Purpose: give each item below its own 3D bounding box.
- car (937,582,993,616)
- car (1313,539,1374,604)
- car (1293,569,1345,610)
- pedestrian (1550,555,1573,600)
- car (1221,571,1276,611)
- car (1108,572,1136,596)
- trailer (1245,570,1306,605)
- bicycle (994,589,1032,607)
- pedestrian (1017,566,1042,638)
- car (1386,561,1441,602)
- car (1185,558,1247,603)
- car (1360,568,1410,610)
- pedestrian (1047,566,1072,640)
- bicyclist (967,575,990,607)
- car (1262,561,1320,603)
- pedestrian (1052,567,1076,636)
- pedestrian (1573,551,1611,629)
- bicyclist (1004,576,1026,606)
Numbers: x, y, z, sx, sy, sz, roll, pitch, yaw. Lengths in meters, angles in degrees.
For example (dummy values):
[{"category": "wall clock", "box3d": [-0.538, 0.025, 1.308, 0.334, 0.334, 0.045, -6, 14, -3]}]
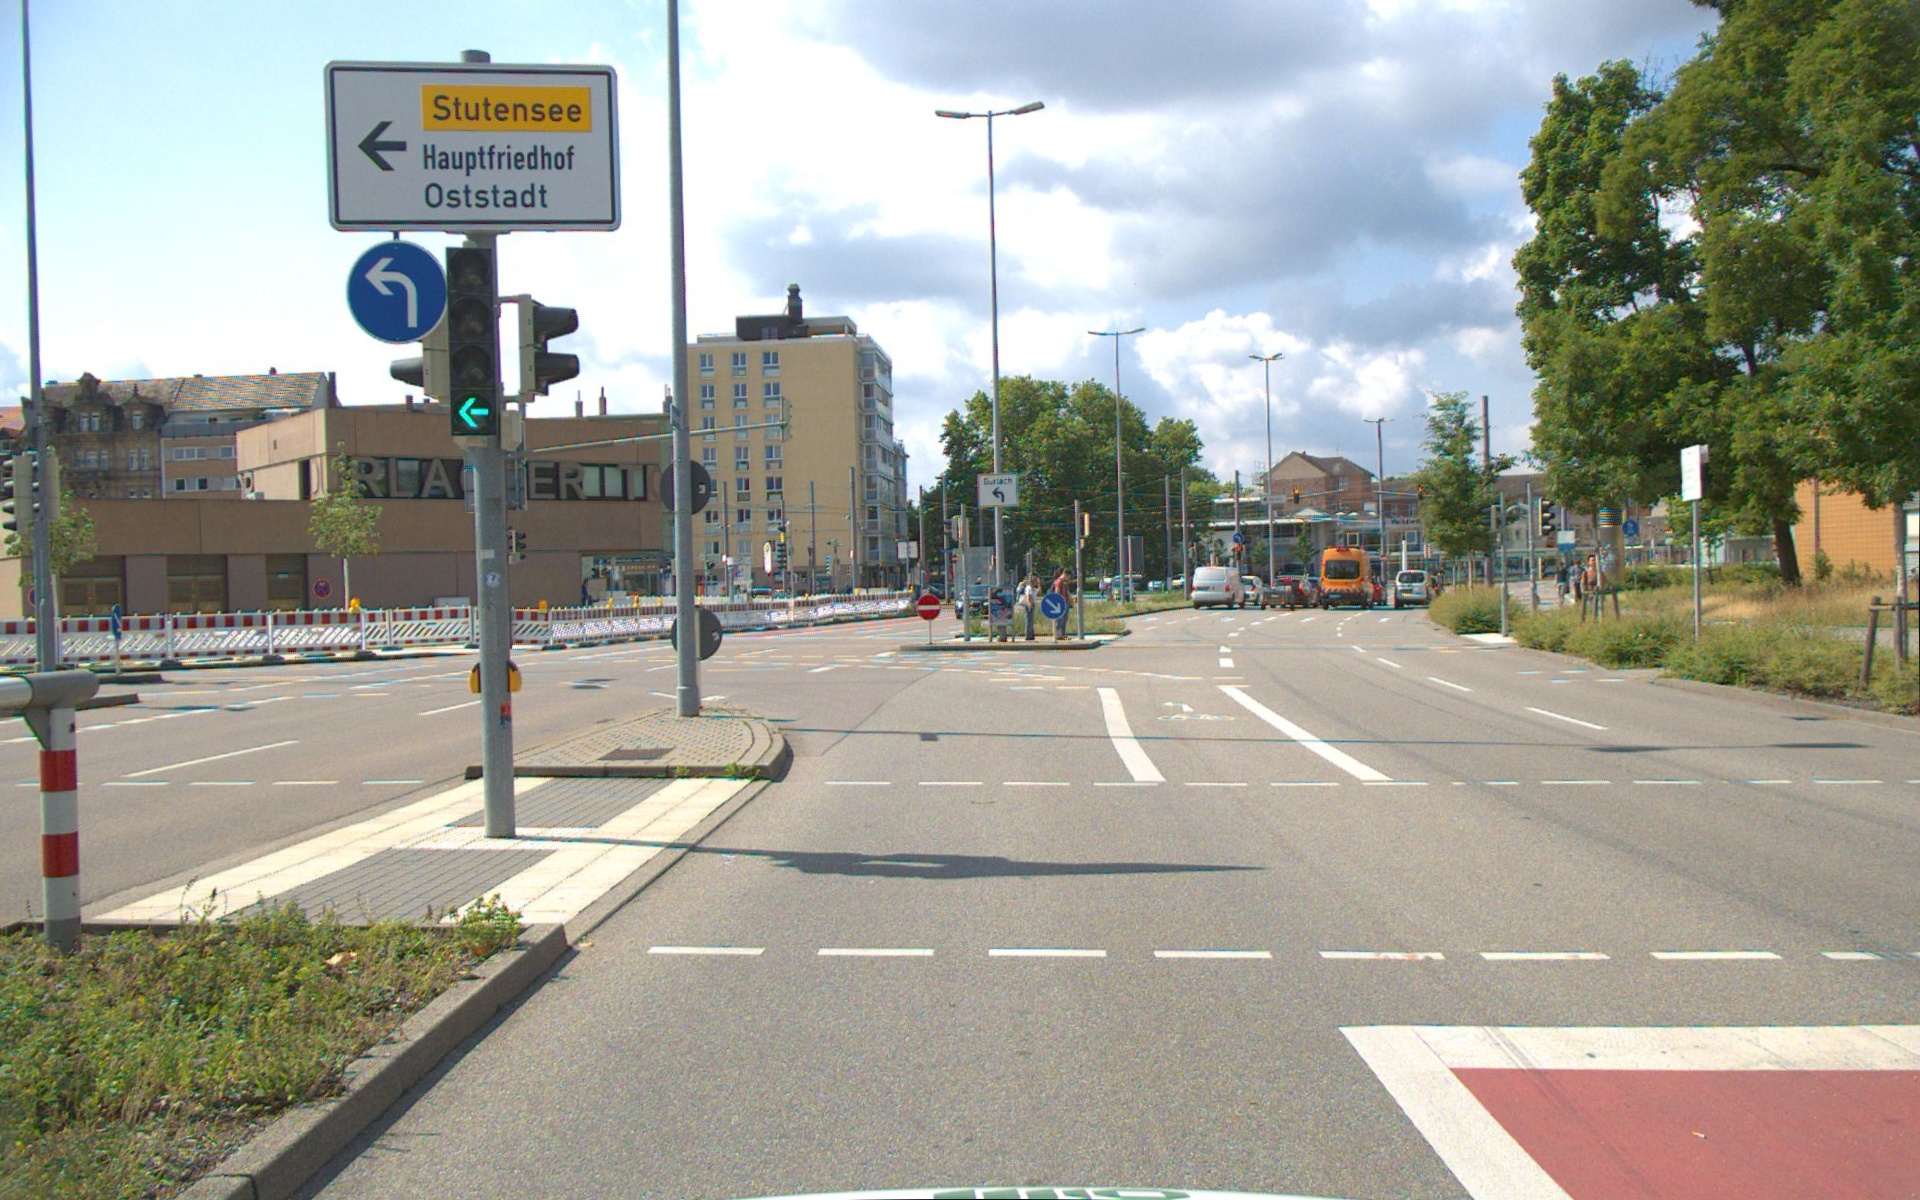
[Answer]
[{"category": "car", "box3d": [0.236, -0.067, 72.858, 1.754, 1.412, 4.231, -1, 0, 10]}, {"category": "car", "box3d": [17.831, -1.331, 76.750, 2.086, 2.829, 4.639, -2, 0, 21]}, {"category": "car", "box3d": [18.690, -0.571, 85.976, 1.950, 1.972, 4.639, -2, 0, 21]}, {"category": "pedestrian", "box3d": [24.892, -0.937, 68.451, 0.773, 1.815, 0.666, -1, 0, 30]}, {"category": "car", "box3d": [15.038, -0.487, 86.063, 1.950, 1.972, 4.639, -2, 0, 21]}, {"category": "car", "box3d": [10.823, -1.098, 110.756, 1.627, 1.506, 4.063, 1, 1, 2]}, {"category": "trailer", "box3d": [14.570, -0.589, 76.163, 1.953, 1.503, 4.000, -2, 0, 22]}, {"category": "bicycle", "box3d": [3.438, -0.144, 107.927, 2.329, 1.085, 0.843, -1, 0, 18]}, {"category": "pedestrian", "box3d": [1.718, 0.043, 40.907, 0.513, 1.763, 0.624, -1, 0, 7]}, {"category": "car", "box3d": [21.388, -0.879, 77.951, 1.953, 1.826, 4.000, -2, 0, 23]}, {"category": "car", "box3d": [12.232, -0.932, 78.800, 1.964, 2.001, 4.639, -2, 0, 21]}, {"category": "car", "box3d": [21.819, -0.583, 84.797, 1.950, 1.972, 4.639, -2, 0, 21]}, {"category": "pedestrian", "box3d": [2.400, 0.065, 39.911, 0.513, 1.763, 0.624, -1, 0, 7]}, {"category": "bicyclist", "box3d": [1.191, -0.578, 103.600, 1.194, 1.942, 0.859, -1, 0, 18]}, {"category": "car", "box3d": [15.899, -0.877, 79.350, 1.953, 1.858, 4.000, -2, 0, 22]}, {"category": "pedestrian", "box3d": [2.642, 0.039, 41.998, 0.513, 1.713, 0.624, -1, 0, 7]}, {"category": "pedestrian", "box3d": [14.464, -0.229, 37.878, 0.646, 1.763, 0.578, -1, 0, 5]}, {"category": "bicyclist", "box3d": [3.606, -0.582, 107.864, 1.194, 1.942, 0.834, -1, 0, 18]}]
